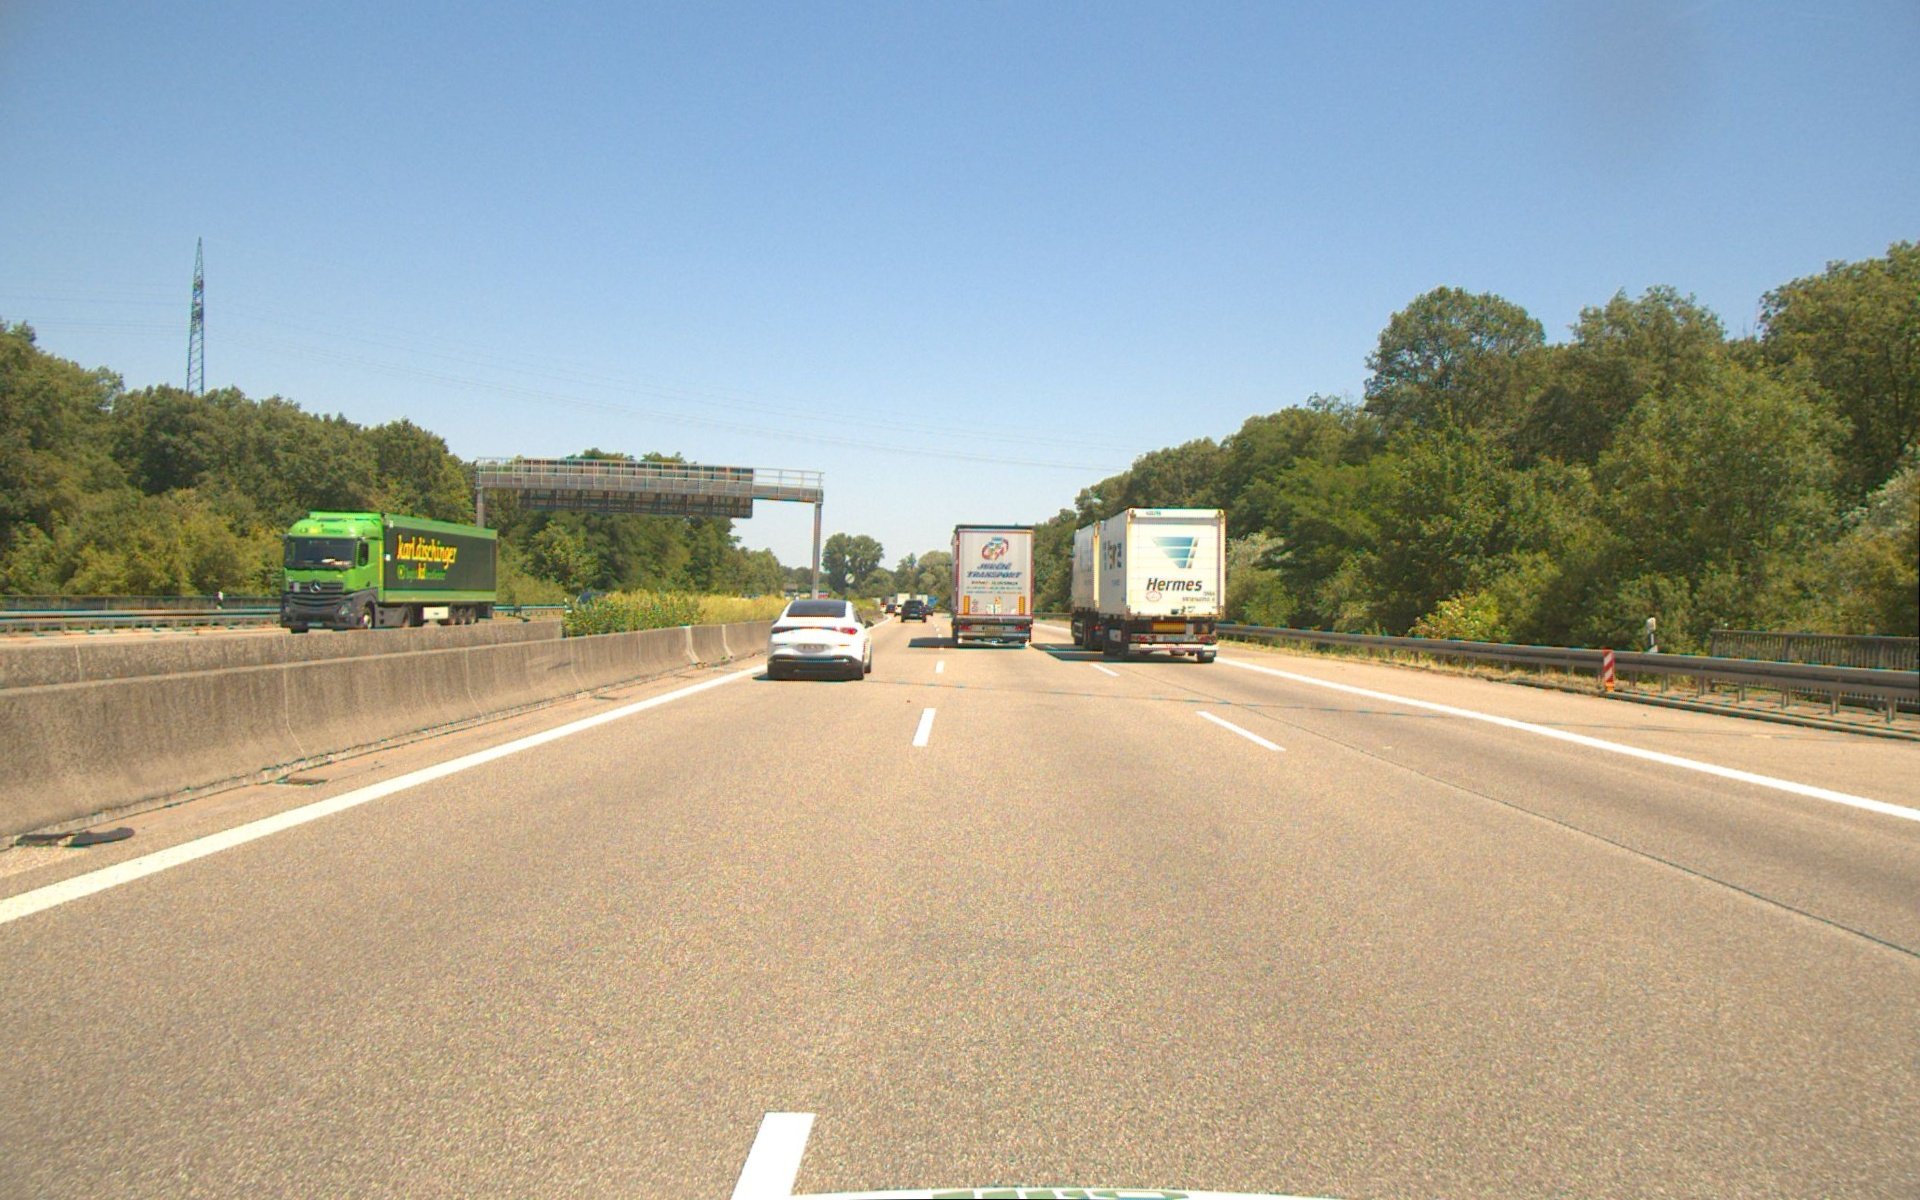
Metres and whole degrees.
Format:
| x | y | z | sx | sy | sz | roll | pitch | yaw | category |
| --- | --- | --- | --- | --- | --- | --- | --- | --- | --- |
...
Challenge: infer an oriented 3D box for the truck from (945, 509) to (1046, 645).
| x | y | z | sx | sy | sz | roll | pitch | yaw | category |
| --- | --- | --- | --- | --- | --- | --- | --- | --- | --- |
| 1.096 | -0.753 | 56.776 | 3.163 | 4.275 | 8.465 | 1 | 0 | 0 | truck |

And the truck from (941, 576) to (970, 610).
| x | y | z | sx | sy | sz | roll | pitch | yaw | category |
| --- | --- | --- | --- | --- | --- | --- | --- | --- | --- |
| -0.598 | -0.872 | 207.244 | 3.375 | 4.059 | 9.511 | 0 | 0 | -2 | truck |

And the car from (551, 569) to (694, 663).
| x | y | z | sx | sy | sz | roll | pitch | yaw | category |
| --- | --- | --- | --- | --- | --- | --- | --- | --- | --- |
| -7.821 | 0.349 | 38.808 | 2.244 | 2.049 | 4.712 | 1 | 0 | 2 | car |

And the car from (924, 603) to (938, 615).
| x | y | z | sx | sy | sz | roll | pitch | yaw | category |
| --- | --- | --- | --- | --- | --- | --- | --- | --- | --- |
| -4.246 | 1.326 | 240.164 | 1.953 | 1.624 | 3.999 | 0 | 0 | -2 | car |

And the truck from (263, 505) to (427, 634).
| x | y | z | sx | sy | sz | roll | pitch | yaw | category |
| --- | --- | --- | --- | --- | --- | --- | --- | --- | --- |
| -20.314 | -0.976 | 55.062 | 2.862 | 4.009 | 6.499 | 0 | 0 | 1 | truck |

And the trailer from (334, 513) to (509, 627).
| x | y | z | sx | sy | sz | roll | pitch | yaw | category |
| --- | --- | --- | --- | --- | --- | --- | --- | --- | --- |
| -20.337 | -1.111 | 63.442 | 2.864 | 3.930 | 11.866 | 0 | 1 | 0 | trailer |

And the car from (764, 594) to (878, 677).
| x | y | z | sx | sy | sz | roll | pitch | yaw | category |
| --- | --- | --- | --- | --- | --- | --- | --- | --- | --- |
| -2.615 | 0.631 | 32.180 | 1.730 | 1.473 | 5.108 | 1 | 0 | 0 | car |

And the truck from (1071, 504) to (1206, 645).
| x | y | z | sx | sy | sz | roll | pitch | yaw | category |
| --- | --- | --- | --- | --- | --- | --- | --- | --- | --- |
| 5.640 | -0.767 | 54.271 | 3.257 | 4.124 | 10.953 | 1 | 0 | 0 | truck |

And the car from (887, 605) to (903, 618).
| x | y | z | sx | sy | sz | roll | pitch | yaw | category |
| --- | --- | --- | --- | --- | --- | --- | --- | --- | --- |
| -8.245 | 1.489 | 210.991 | 1.953 | 1.624 | 3.999 | 0 | 0 | -2 | car |

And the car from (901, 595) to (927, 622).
| x | y | z | sx | sy | sz | roll | pitch | yaw | category |
| --- | --- | --- | --- | --- | --- | --- | --- | --- | --- |
| -3.513 | 0.651 | 127.234 | 1.953 | 1.906 | 3.999 | 1 | 1 | -2 | car |

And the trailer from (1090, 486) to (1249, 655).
| x | y | z | sx | sy | sz | roll | pitch | yaw | category |
| --- | --- | --- | --- | --- | --- | --- | --- | --- | --- |
| 5.616 | -0.760 | 46.113 | 3.298 | 4.215 | 9.091 | 1 | 0 | 0 | trailer |
